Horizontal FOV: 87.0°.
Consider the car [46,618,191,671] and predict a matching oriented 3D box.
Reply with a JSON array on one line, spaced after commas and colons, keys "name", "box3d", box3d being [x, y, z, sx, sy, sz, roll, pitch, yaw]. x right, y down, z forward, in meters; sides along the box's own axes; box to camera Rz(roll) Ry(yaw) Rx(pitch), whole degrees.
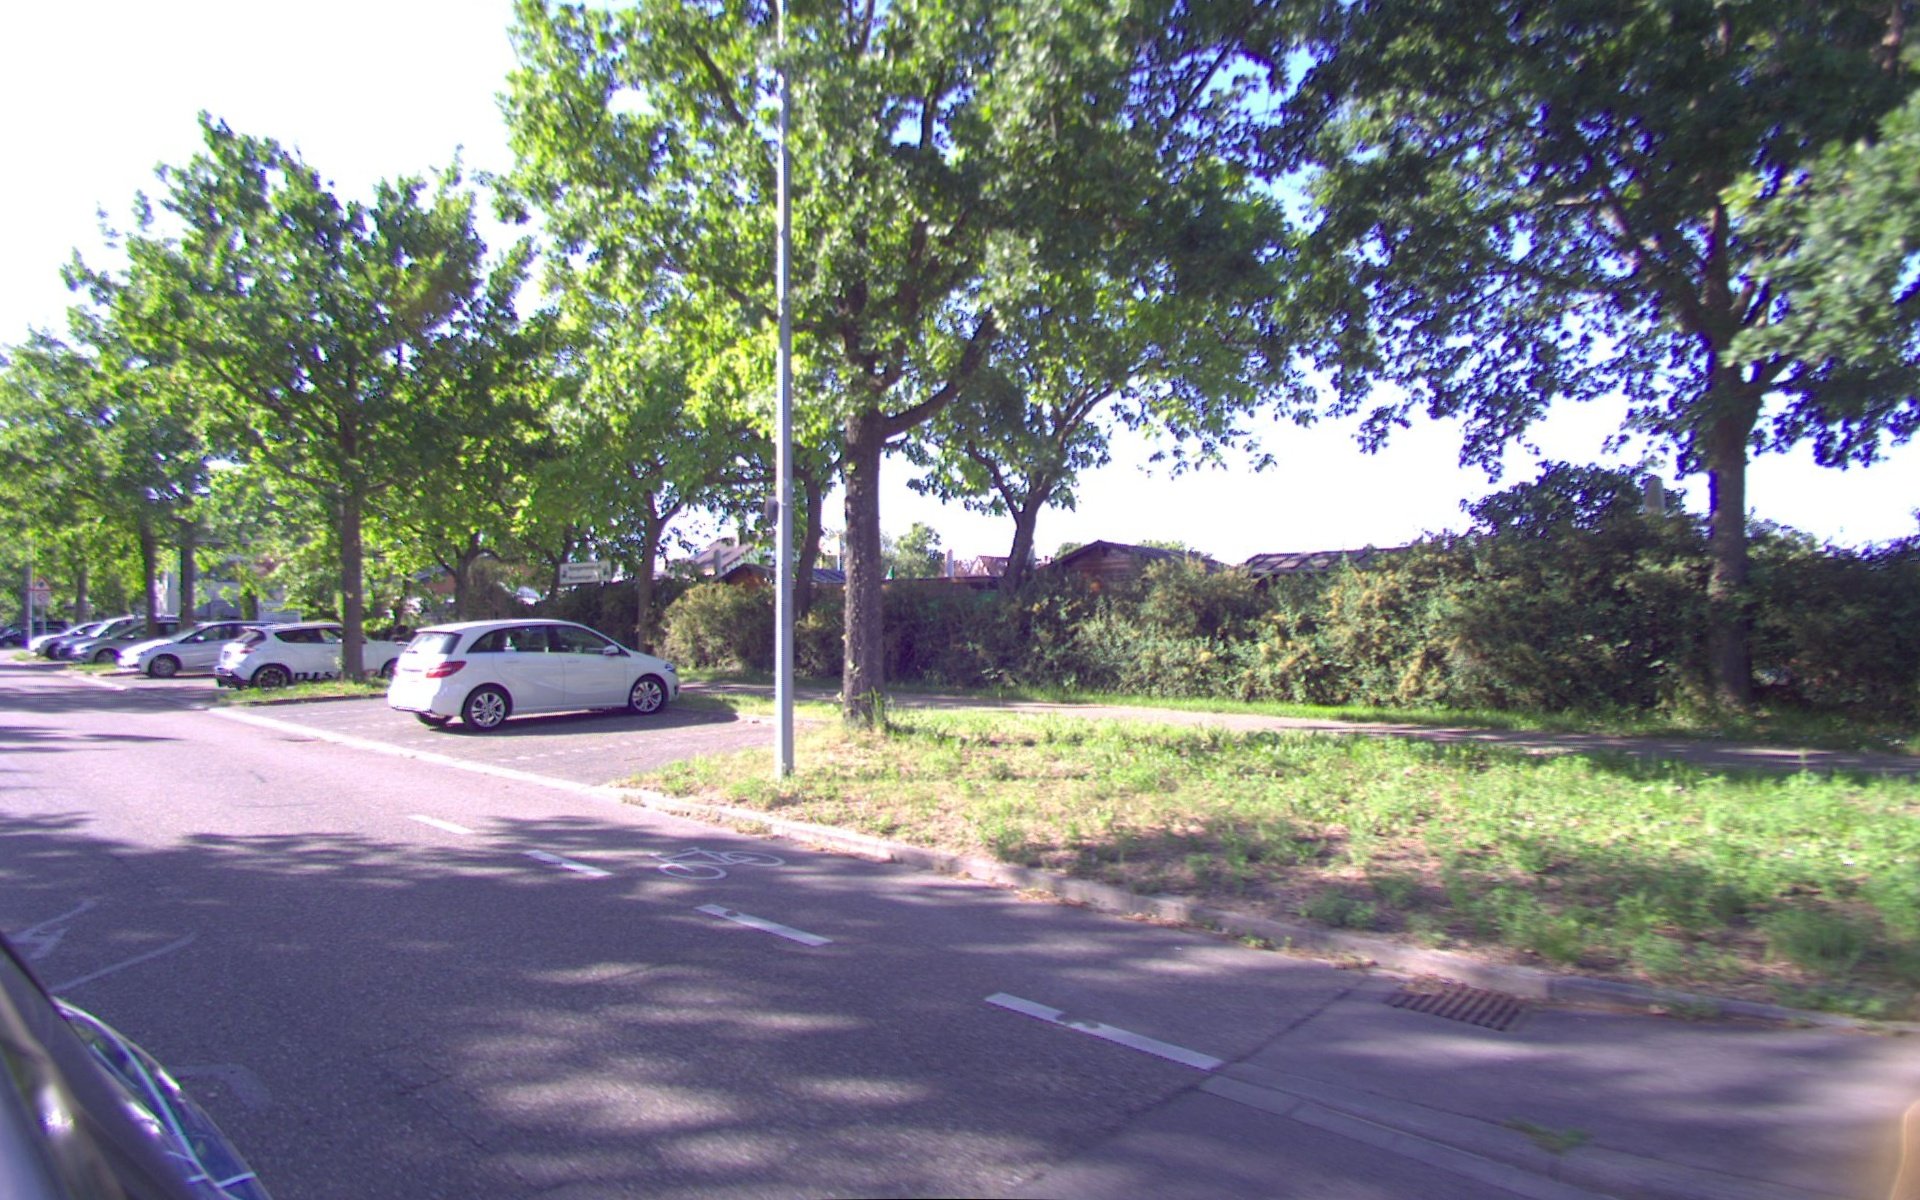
[{"name": "car", "box3d": [-33.366, 1.713, 40.211, 1.998, 1.898, 4.183, -2, -1, 41]}]

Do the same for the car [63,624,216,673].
[{"name": "car", "box3d": [-29.630, 1.699, 36.627, 1.865, 1.568, 4.091, -2, -1, 43]}]

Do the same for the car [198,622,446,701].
[{"name": "car", "box3d": [-14.409, 1.324, 23.055, 2.087, 1.522, 4.367, -2, -1, 41]}]

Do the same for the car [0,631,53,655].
[{"name": "car", "box3d": [-72.249, 3.310, 77.582, 3.977, 1.791, 1.943, 2, -3, -42]}]

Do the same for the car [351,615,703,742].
[{"name": "car", "box3d": [-6.558, 1.092, 15.789, 2.188, 1.570, 4.583, -2, -1, 37]}]

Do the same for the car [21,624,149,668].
[{"name": "car", "box3d": [-37.595, 1.943, 43.553, 1.876, 1.655, 4.018, -2, -1, 44]}]

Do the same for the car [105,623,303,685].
[{"name": "car", "box3d": [-22.170, 1.527, 29.796, 2.088, 1.568, 4.364, -2, -1, 43]}]

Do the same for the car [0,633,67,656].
[{"name": "car", "box3d": [-61.875, 2.936, 67.084, 3.977, 1.490, 1.943, 2, -3, -42]}]

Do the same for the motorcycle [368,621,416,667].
[{"name": "motorcycle", "box3d": [-18.731, 1.428, 33.359, 1.991, 1.443, 0.729, -2, 1, 42]}]
